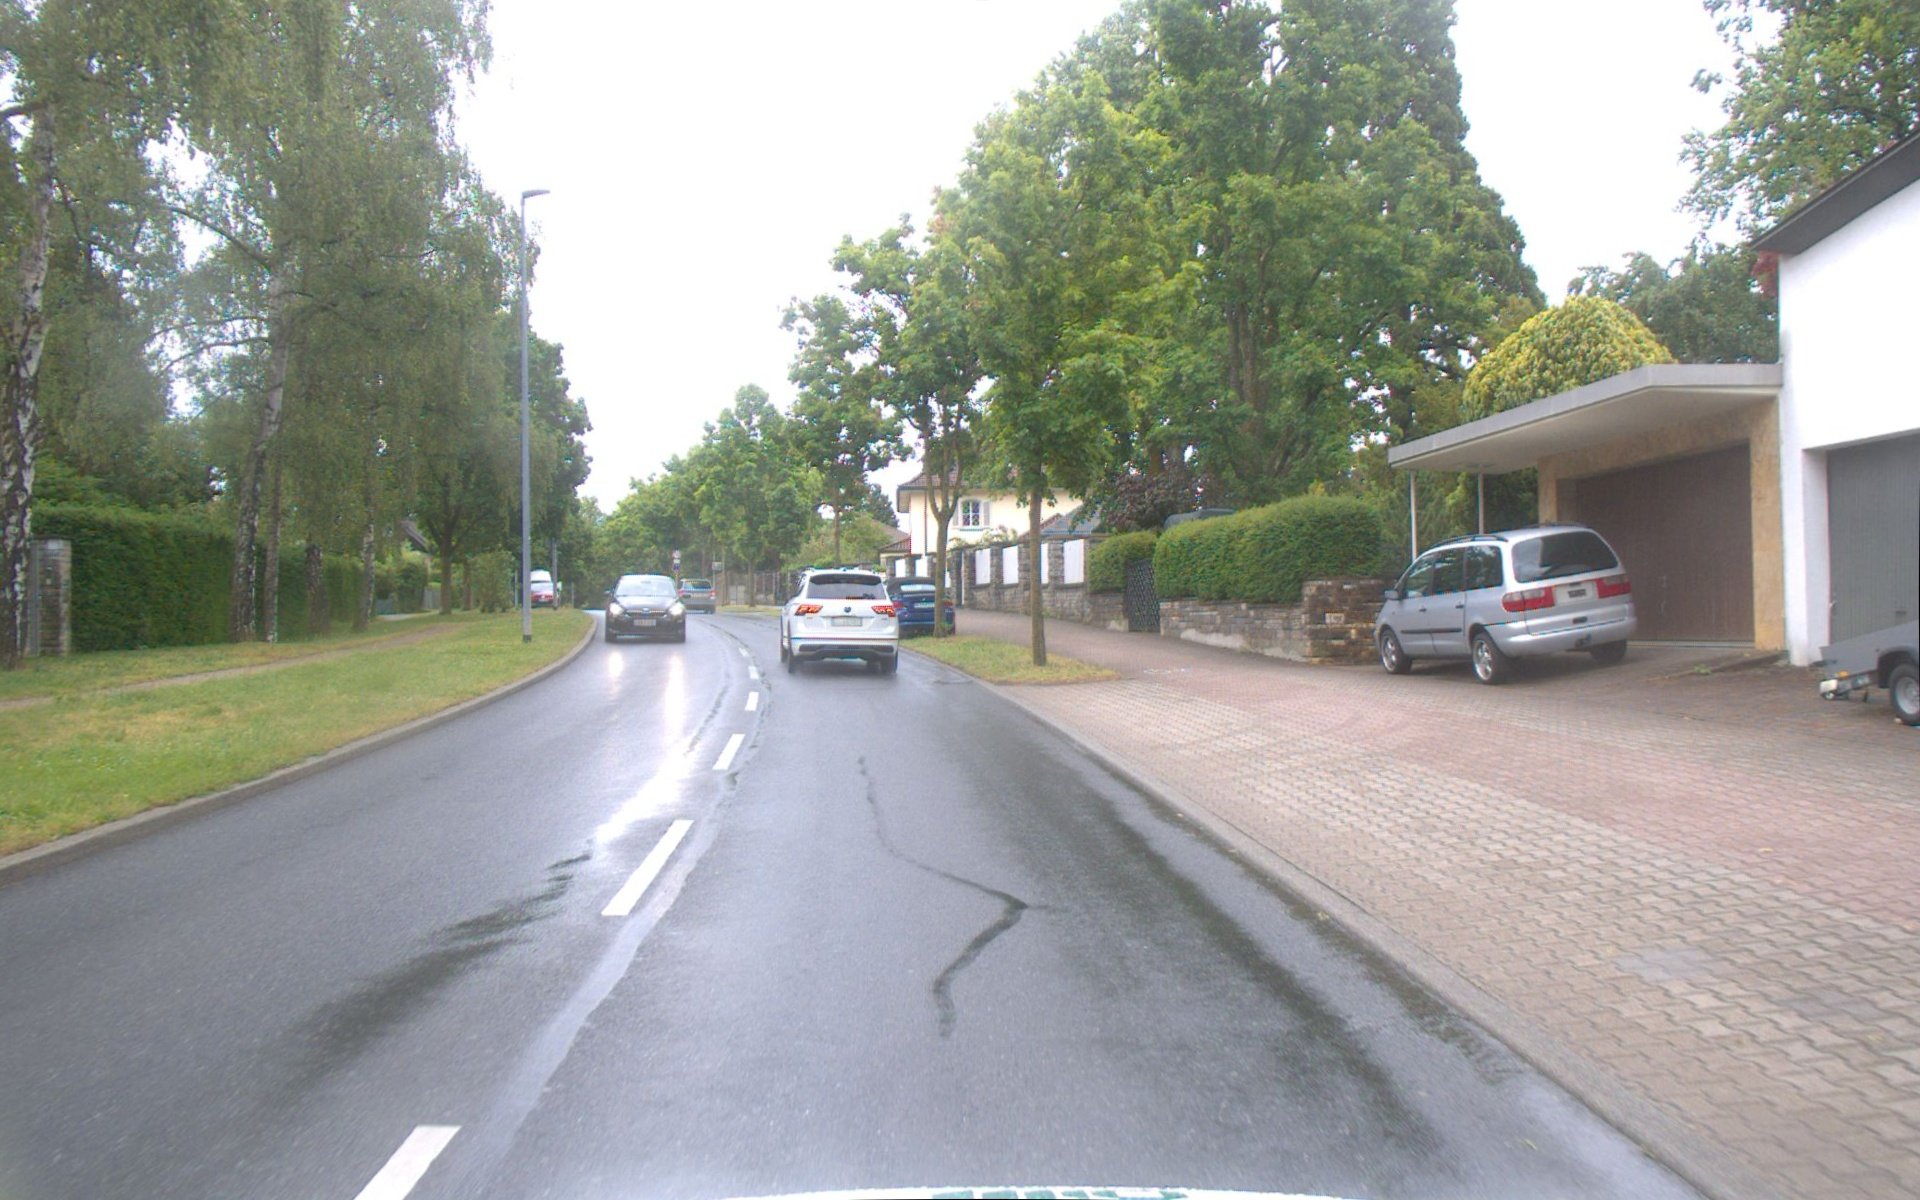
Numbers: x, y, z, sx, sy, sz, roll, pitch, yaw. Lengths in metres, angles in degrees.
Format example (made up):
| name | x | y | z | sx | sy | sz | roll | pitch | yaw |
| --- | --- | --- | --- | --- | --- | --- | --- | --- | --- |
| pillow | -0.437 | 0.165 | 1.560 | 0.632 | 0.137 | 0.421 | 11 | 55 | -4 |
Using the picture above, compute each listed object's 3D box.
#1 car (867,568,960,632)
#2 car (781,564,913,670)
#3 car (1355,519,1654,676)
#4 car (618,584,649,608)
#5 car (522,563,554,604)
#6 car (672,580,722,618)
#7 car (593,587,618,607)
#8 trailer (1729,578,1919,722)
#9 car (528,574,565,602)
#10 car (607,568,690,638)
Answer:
| name | x | y | z | sx | sy | sz | roll | pitch | yaw |
| --- | --- | --- | --- | --- | --- | --- | --- | --- | --- |
| car | -1.160 | -0.027 | 39.724 | 1.612 | 1.401 | 3.819 | -2 | 1 | -11 |
| car | -1.985 | 0.236 | 28.047 | 1.959 | 1.660 | 3.993 | 0 | 1 | -8 |
| car | 6.878 | -0.066 | 21.533 | 1.760 | 1.788 | 4.936 | -1 | 1 | -7 |
| car | -21.392 | -0.292 | 108.283 | 1.820 | 1.442 | 4.212 | 1 | 1 | -13 |
| car | -27.879 | -1.048 | 109.132 | 1.961 | 2.606 | 5.211 | -1 | 0 | -15 |
| car | -11.310 | -0.063 | 70.942 | 1.809 | 1.513 | 3.987 | 1 | 1 | -13 |
| car | -27.888 | -0.278 | 129.974 | 1.820 | 1.442 | 4.212 | 1 | 1 | -13 |
| trailer | 7.916 | 0.370 | 13.451 | 1.395 | 0.936 | 3.269 | -8 | 1 | -8 |
| car | -22.161 | -0.622 | 88.620 | 1.813 | 1.491 | 4.232 | 0 | 0 | -16 |
| car | -7.055 | 0.026 | 37.658 | 1.722 | 1.466 | 4.148 | 1 | 1 | -10 |
